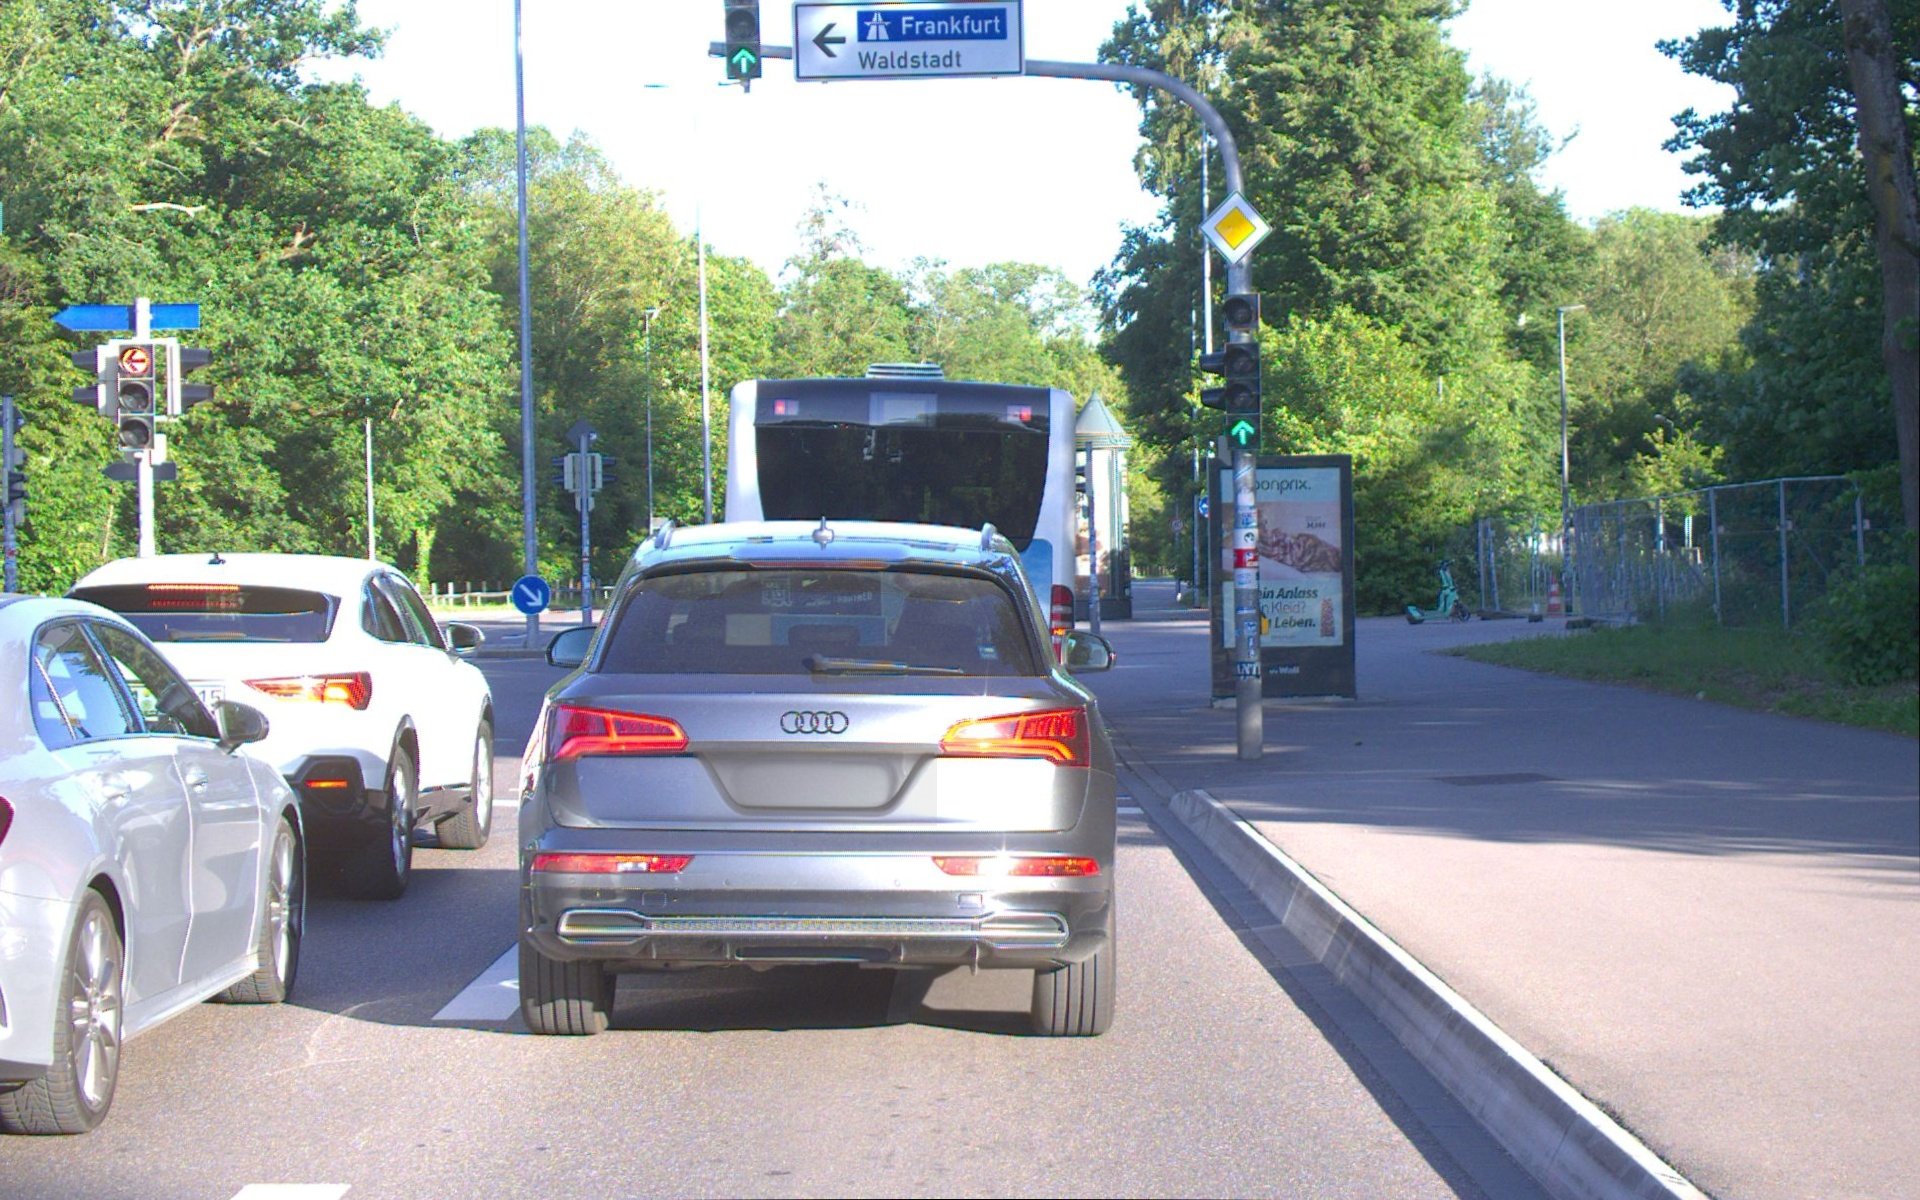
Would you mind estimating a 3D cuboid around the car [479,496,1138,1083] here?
[{"bbox_3d":[-0.468,0.501,11.921,1.868,1.658,4.000,1,1,-1],"label":"car"}]

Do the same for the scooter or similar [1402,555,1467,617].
[{"bbox_3d":[9.202,-0.274,66.699,1.184,1.170,0.659,1,1,11],"label":"scooter or similar"}]

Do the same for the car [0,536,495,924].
[{"bbox_3d":[-3.375,0.510,16.402,1.808,1.567,4.000,1,1,-1],"label":"car"}]

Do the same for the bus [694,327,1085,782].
[{"bbox_3d":[-0.474,-0.389,27.051,2.678,3.131,5.882,1,1,0],"label":"bus"}]

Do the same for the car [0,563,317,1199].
[{"bbox_3d":[-3.144,0.644,10.138,1.785,1.439,4.278,1,1,-2],"label":"car"}]
